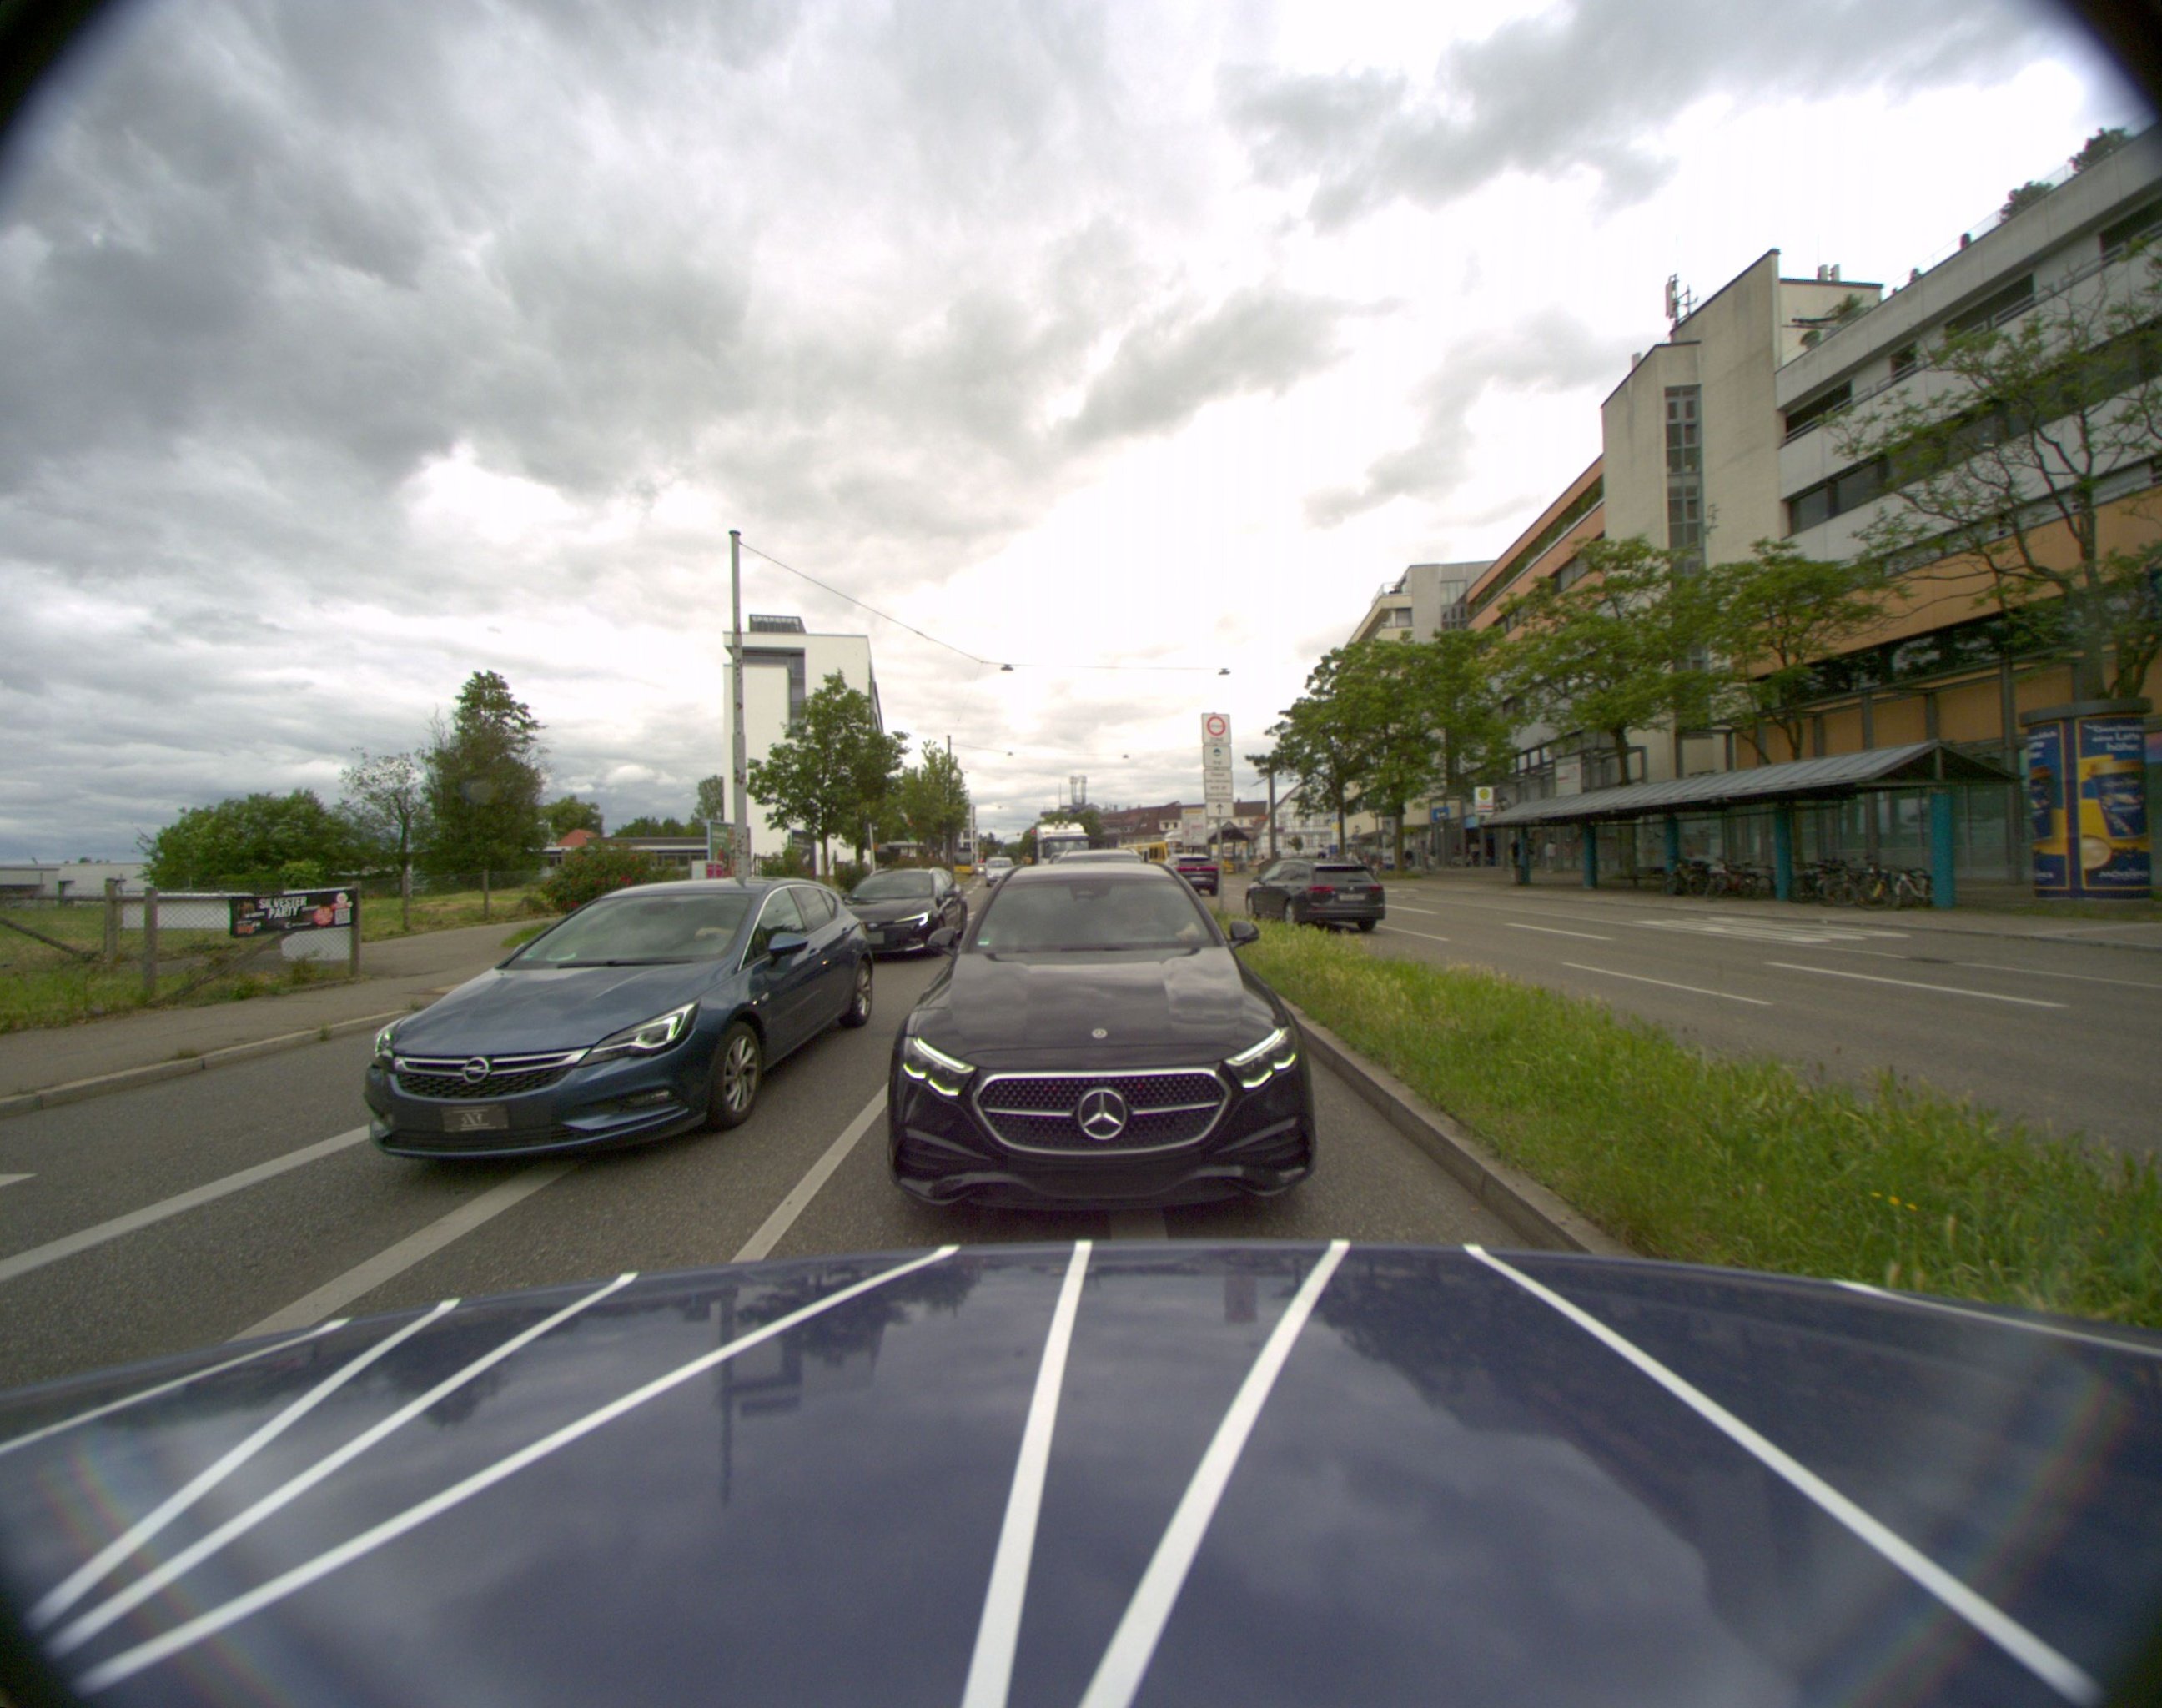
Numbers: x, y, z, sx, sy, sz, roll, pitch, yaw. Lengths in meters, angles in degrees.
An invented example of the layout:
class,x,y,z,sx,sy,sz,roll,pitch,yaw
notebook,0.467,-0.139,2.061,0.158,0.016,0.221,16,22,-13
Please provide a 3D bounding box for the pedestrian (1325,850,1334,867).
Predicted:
class,x,y,z,sx,sy,sz,roll,pitch,yaw
pedestrian,22.227,0.408,68.035,0.577,1.533,0.583,-1,1,-8

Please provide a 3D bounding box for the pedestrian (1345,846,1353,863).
class,x,y,z,sx,sy,sz,roll,pitch,yaw
pedestrian,24.827,0.046,70.354,0.555,1.485,0.454,-1,1,8

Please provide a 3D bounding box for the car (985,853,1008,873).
class,x,y,z,sx,sy,sz,roll,pitch,yaw
car,-8.435,0.870,75.988,1.853,1.875,4.132,-3,0,-11

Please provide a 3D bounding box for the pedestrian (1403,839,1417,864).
class,x,y,z,sx,sy,sz,roll,pitch,yaw
pedestrian,24.621,-0.174,56.892,0.765,1.835,0.752,-1,1,1

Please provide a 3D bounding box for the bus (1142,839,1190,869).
class,x,y,z,sx,sy,sz,roll,pitch,yaw
bus,8.706,0.010,79.017,2.556,2.966,8.498,-1,0,-11

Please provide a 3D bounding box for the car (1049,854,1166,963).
class,x,y,z,sx,sy,sz,roll,pitch,yaw
car,0.397,0.823,13.485,1.734,1.601,4.000,-2,0,0

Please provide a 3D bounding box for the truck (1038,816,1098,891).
class,x,y,z,sx,sy,sz,roll,pitch,yaw
truck,-0.761,-0.039,36.727,2.490,3.258,7.428,-1,0,-4

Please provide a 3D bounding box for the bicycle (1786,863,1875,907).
class,x,y,z,sx,sy,sz,roll,pitch,yaw
bicycle,19.030,0.777,19.310,1.735,1.035,0.549,-2,1,-2

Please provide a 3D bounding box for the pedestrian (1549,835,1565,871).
class,x,y,z,sx,sy,sz,roll,pitch,yaw
pedestrian,24.104,-0.045,38.490,0.648,1.799,0.761,0,1,34

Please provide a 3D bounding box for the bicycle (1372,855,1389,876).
class,x,y,z,sx,sy,sz,roll,pitch,yaw
bicycle,16.407,0.626,41.648,0.593,1.071,2.041,0,1,29

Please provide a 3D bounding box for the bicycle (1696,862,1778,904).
class,x,y,z,sx,sy,sz,roll,pitch,yaw
bicycle,17.952,0.792,20.812,1.735,1.035,0.549,-3,1,-2

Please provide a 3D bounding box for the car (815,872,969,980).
class,x,y,z,sx,sy,sz,roll,pitch,yaw
car,-3.108,1.118,13.294,1.665,1.448,3.921,-2,0,0

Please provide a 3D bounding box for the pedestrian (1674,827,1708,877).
class,x,y,z,sx,sy,sz,roll,pitch,yaw
pedestrian,25.107,-0.097,31.277,0.710,2.002,0.794,-2,1,-7

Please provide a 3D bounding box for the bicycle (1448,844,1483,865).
class,x,y,z,sx,sy,sz,roll,pitch,yaw
bicycle,27.000,0.034,53.402,2.139,1.367,0.620,-2,1,18

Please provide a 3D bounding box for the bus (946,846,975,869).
class,x,y,z,sx,sy,sz,roll,pitch,yaw
bus,-15.215,0.354,95.053,2.969,2.616,12.911,-2,1,-11

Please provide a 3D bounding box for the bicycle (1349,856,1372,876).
class,x,y,z,sx,sy,sz,roll,pitch,yaw
bicycle,15.484,0.658,42.019,0.593,1.071,2.041,0,1,38

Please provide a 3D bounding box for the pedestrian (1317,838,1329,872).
class,x,y,z,sx,sy,sz,roll,pitch,yaw
pedestrian,16.733,0.064,52.489,0.590,2.294,0.608,-1,1,-2

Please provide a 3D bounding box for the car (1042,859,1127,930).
class,x,y,z,sx,sy,sz,roll,pitch,yaw
car,0.049,0.914,18.911,1.865,1.520,3.999,-1,0,-1

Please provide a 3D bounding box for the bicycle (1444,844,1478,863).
class,x,y,z,sx,sy,sz,roll,pitch,yaw
bicycle,27.762,-0.023,55.553,2.138,1.358,0.620,-2,1,26

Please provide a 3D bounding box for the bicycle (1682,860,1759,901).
class,x,y,z,sx,sy,sz,roll,pitch,yaw
bicycle,18.288,0.746,21.745,1.735,1.035,0.549,-4,1,-2

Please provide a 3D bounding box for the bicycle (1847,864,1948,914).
class,x,y,z,sx,sy,sz,roll,pitch,yaw
bicycle,18.689,0.786,17.400,1.735,1.035,0.549,-2,1,-2

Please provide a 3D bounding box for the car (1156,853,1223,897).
class,x,y,z,sx,sy,sz,roll,pitch,yaw
car,4.104,0.759,29.293,1.840,1.512,4.070,0,1,-2

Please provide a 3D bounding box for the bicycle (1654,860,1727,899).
class,x,y,z,sx,sy,sz,roll,pitch,yaw
bicycle,18.209,0.750,22.705,1.735,1.035,0.549,-3,1,-2

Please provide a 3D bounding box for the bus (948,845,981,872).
class,x,y,z,sx,sy,sz,roll,pitch,yaw
bus,-12.810,0.398,82.730,2.969,2.616,12.137,-2,1,-11

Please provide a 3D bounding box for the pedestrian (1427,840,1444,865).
class,x,y,z,sx,sy,sz,roll,pitch,yaw
pedestrian,24.275,-0.127,52.035,0.765,1.673,0.752,-1,1,1

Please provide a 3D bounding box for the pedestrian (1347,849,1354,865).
class,x,y,z,sx,sy,sz,roll,pitch,yaw
pedestrian,19.532,0.192,54.987,0.341,1.172,0.369,-1,1,-9

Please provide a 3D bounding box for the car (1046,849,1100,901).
class,x,y,z,sx,sy,sz,roll,pitch,yaw
car,-0.362,0.714,28.347,1.865,1.773,3.999,-1,0,-2

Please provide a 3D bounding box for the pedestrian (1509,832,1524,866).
class,x,y,z,sx,sy,sz,roll,pitch,yaw
pedestrian,25.828,-0.314,45.078,0.566,2.002,0.611,-1,1,6

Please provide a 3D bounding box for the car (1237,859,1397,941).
class,x,y,z,sx,sy,sz,roll,pitch,yaw
car,4.870,0.883,16.384,1.714,1.472,4.285,1,1,-6

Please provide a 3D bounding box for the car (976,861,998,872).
class,x,y,z,sx,sy,sz,roll,pitch,yaw
car,-14.010,1.809,113.397,1.996,1.592,4.004,-1,0,12

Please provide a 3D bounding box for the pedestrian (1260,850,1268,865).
class,x,y,z,sx,sy,sz,roll,pitch,yaw
pedestrian,19.284,0.371,80.039,0.577,1.533,0.583,-1,1,-8

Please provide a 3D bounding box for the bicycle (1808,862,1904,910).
class,x,y,z,sx,sy,sz,roll,pitch,yaw
bicycle,18.630,0.754,18.285,1.735,1.035,0.549,-3,1,-2

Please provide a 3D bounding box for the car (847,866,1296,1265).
class,x,y,z,sx,sy,sz,roll,pitch,yaw
car,-0.049,0.887,5.193,1.793,1.507,4.249,-1,0,0

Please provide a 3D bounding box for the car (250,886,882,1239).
class,x,y,z,sx,sy,sz,roll,pitch,yaw
car,-2.910,1.052,5.530,1.826,1.402,4.000,-2,0,0

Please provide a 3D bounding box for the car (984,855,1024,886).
class,x,y,z,sx,sy,sz,roll,pitch,yaw
car,-4.393,0.924,43.907,1.851,1.606,3.783,-3,0,0

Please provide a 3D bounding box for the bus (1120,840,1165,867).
class,x,y,z,sx,sy,sz,roll,pitch,yaw
bus,6.942,-0.044,87.953,2.556,2.966,9.790,-1,0,-11

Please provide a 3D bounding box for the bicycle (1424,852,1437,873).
class,x,y,z,sx,sy,sz,roll,pitch,yaw
bicycle,19.492,0.472,42.387,0.593,1.119,2.040,0,1,24

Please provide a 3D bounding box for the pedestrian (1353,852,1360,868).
class,x,y,z,sx,sy,sz,roll,pitch,yaw
pedestrian,25.486,0.542,70.232,0.555,1.485,0.454,-1,1,8

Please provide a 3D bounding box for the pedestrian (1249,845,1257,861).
class,x,y,z,sx,sy,sz,roll,pitch,yaw
pedestrian,22.364,-0.118,98.996,0.879,2.002,1.010,-1,1,6

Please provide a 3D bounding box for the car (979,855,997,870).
class,x,y,z,sx,sy,sz,roll,pitch,yaw
car,-11.478,1.056,93.854,2.000,1.811,3.996,-1,0,-10
